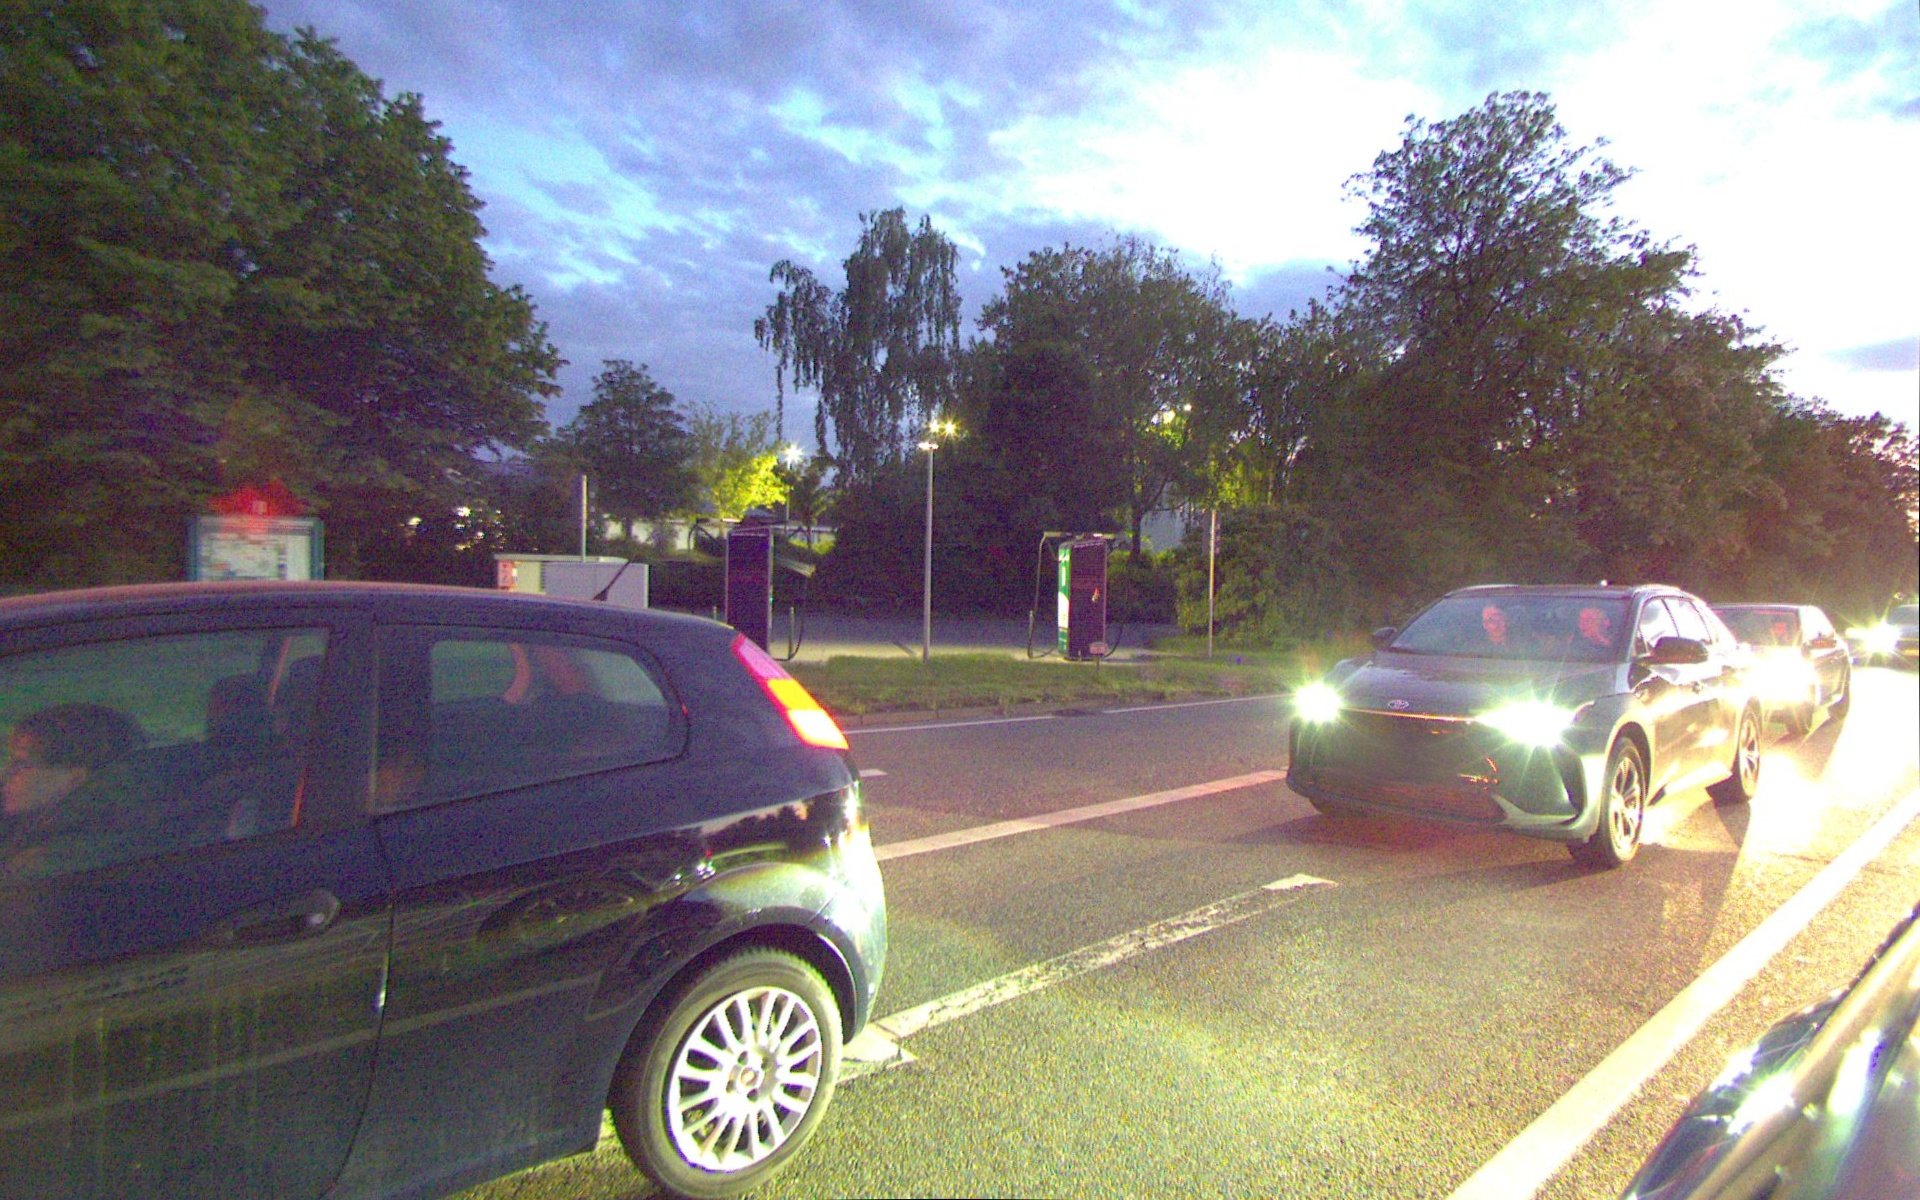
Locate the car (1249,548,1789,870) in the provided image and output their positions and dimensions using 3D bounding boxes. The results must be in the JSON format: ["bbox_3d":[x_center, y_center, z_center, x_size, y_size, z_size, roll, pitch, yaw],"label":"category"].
[{"bbox_3d":[4.057,0.562,7.053,4.223,1.577,1.901,1,-1,-40],"label":"car"}]

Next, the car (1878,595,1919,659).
[{"bbox_3d":[22.743,0.593,23.392,3.930,1.385,1.817,-1,1,-41],"label":"car"}]

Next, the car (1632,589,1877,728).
[{"bbox_3d":[9.808,0.627,12.400,3.688,1.431,1.621,1,1,-40],"label":"car"}]

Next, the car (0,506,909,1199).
[{"bbox_3d":[-2.064,0.610,2.173,3.649,1.556,1.663,-1,2,-40],"label":"car"}]
